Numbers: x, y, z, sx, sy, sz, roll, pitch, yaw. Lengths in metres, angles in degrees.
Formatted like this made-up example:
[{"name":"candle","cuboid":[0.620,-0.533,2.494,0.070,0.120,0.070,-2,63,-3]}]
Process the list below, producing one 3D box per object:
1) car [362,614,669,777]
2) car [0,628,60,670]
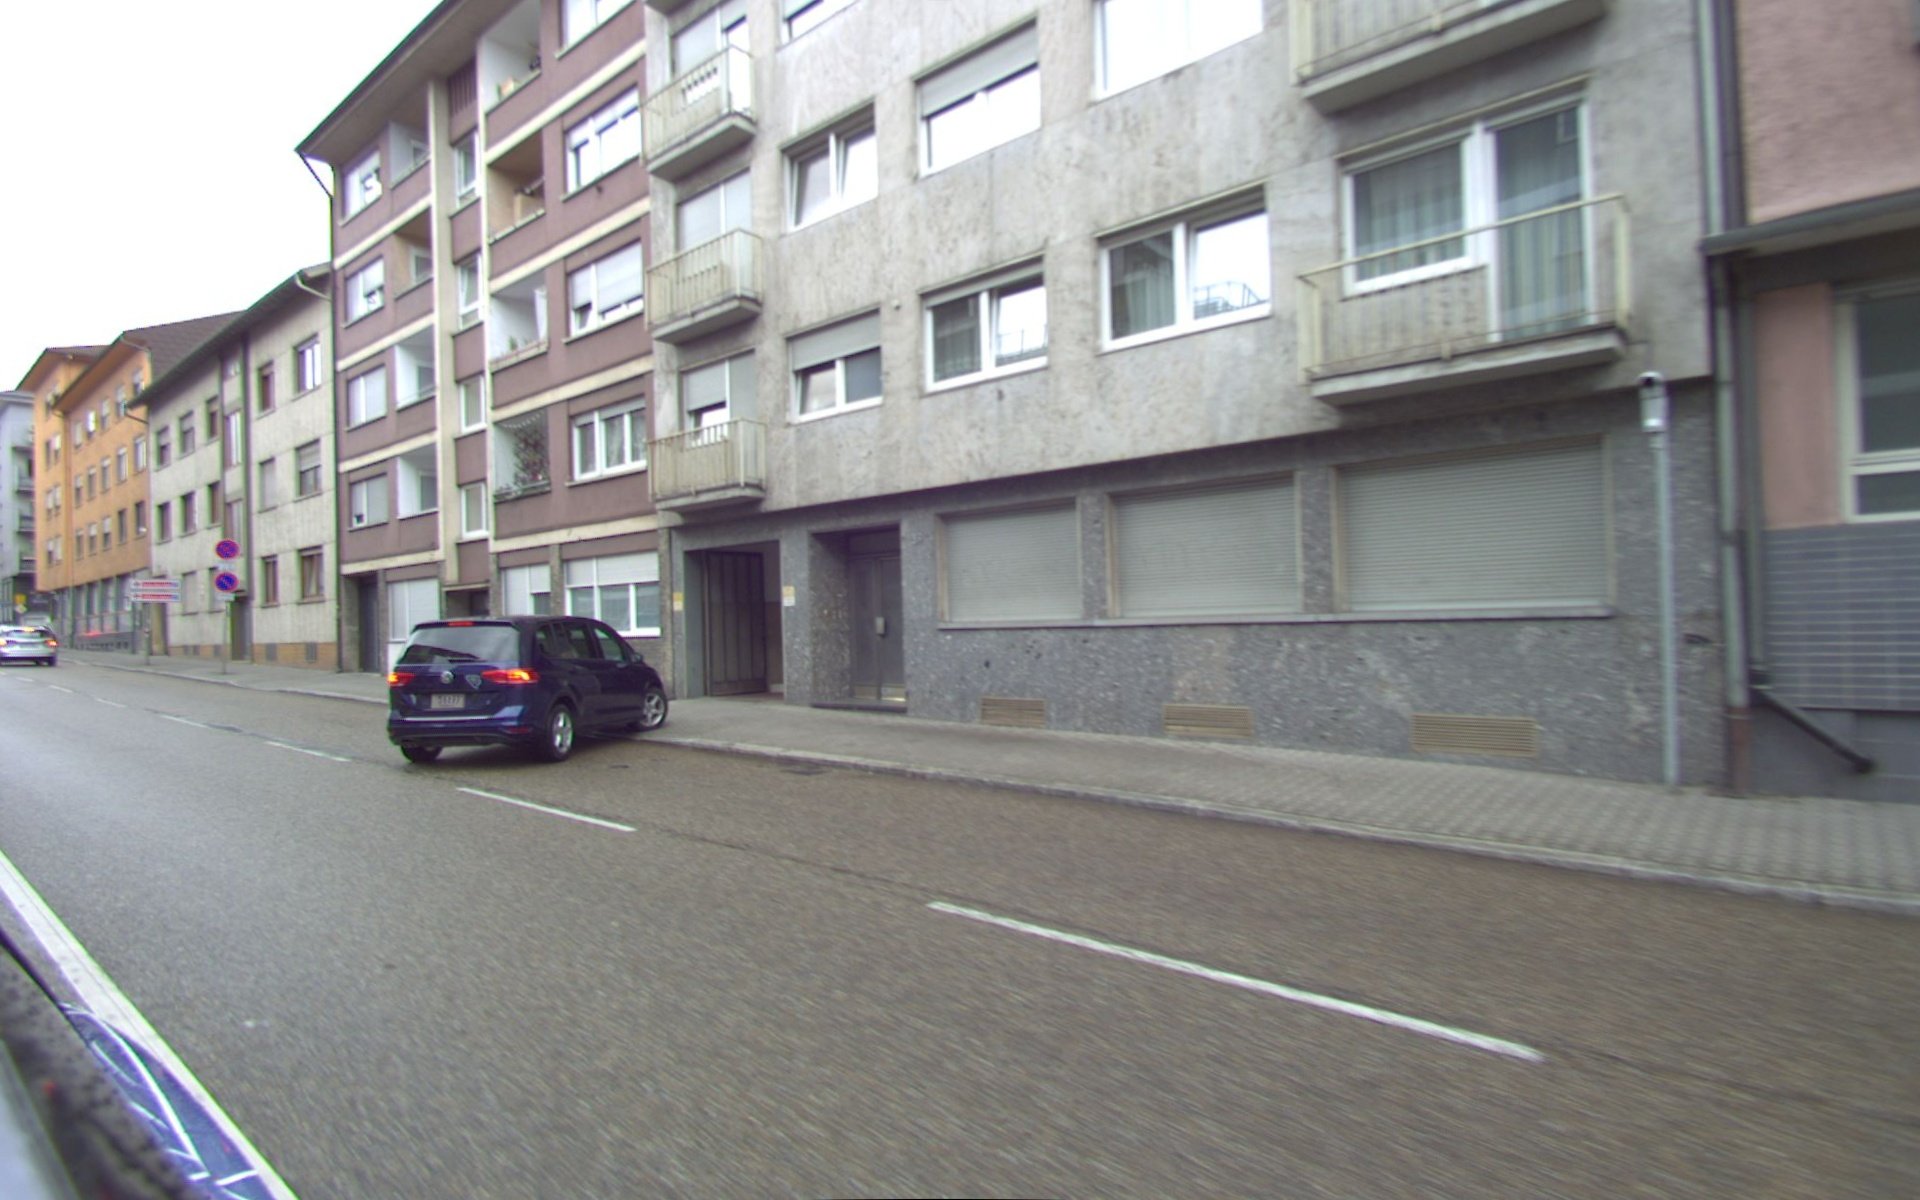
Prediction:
[{"name":"car","cuboid":[-5.152,1.002,12.473,1.971,1.587,4.310,-1,0,-1]},{"name":"car","cuboid":[-34.725,1.781,37.285,4.069,1.472,1.710,-1,-3,40]}]
